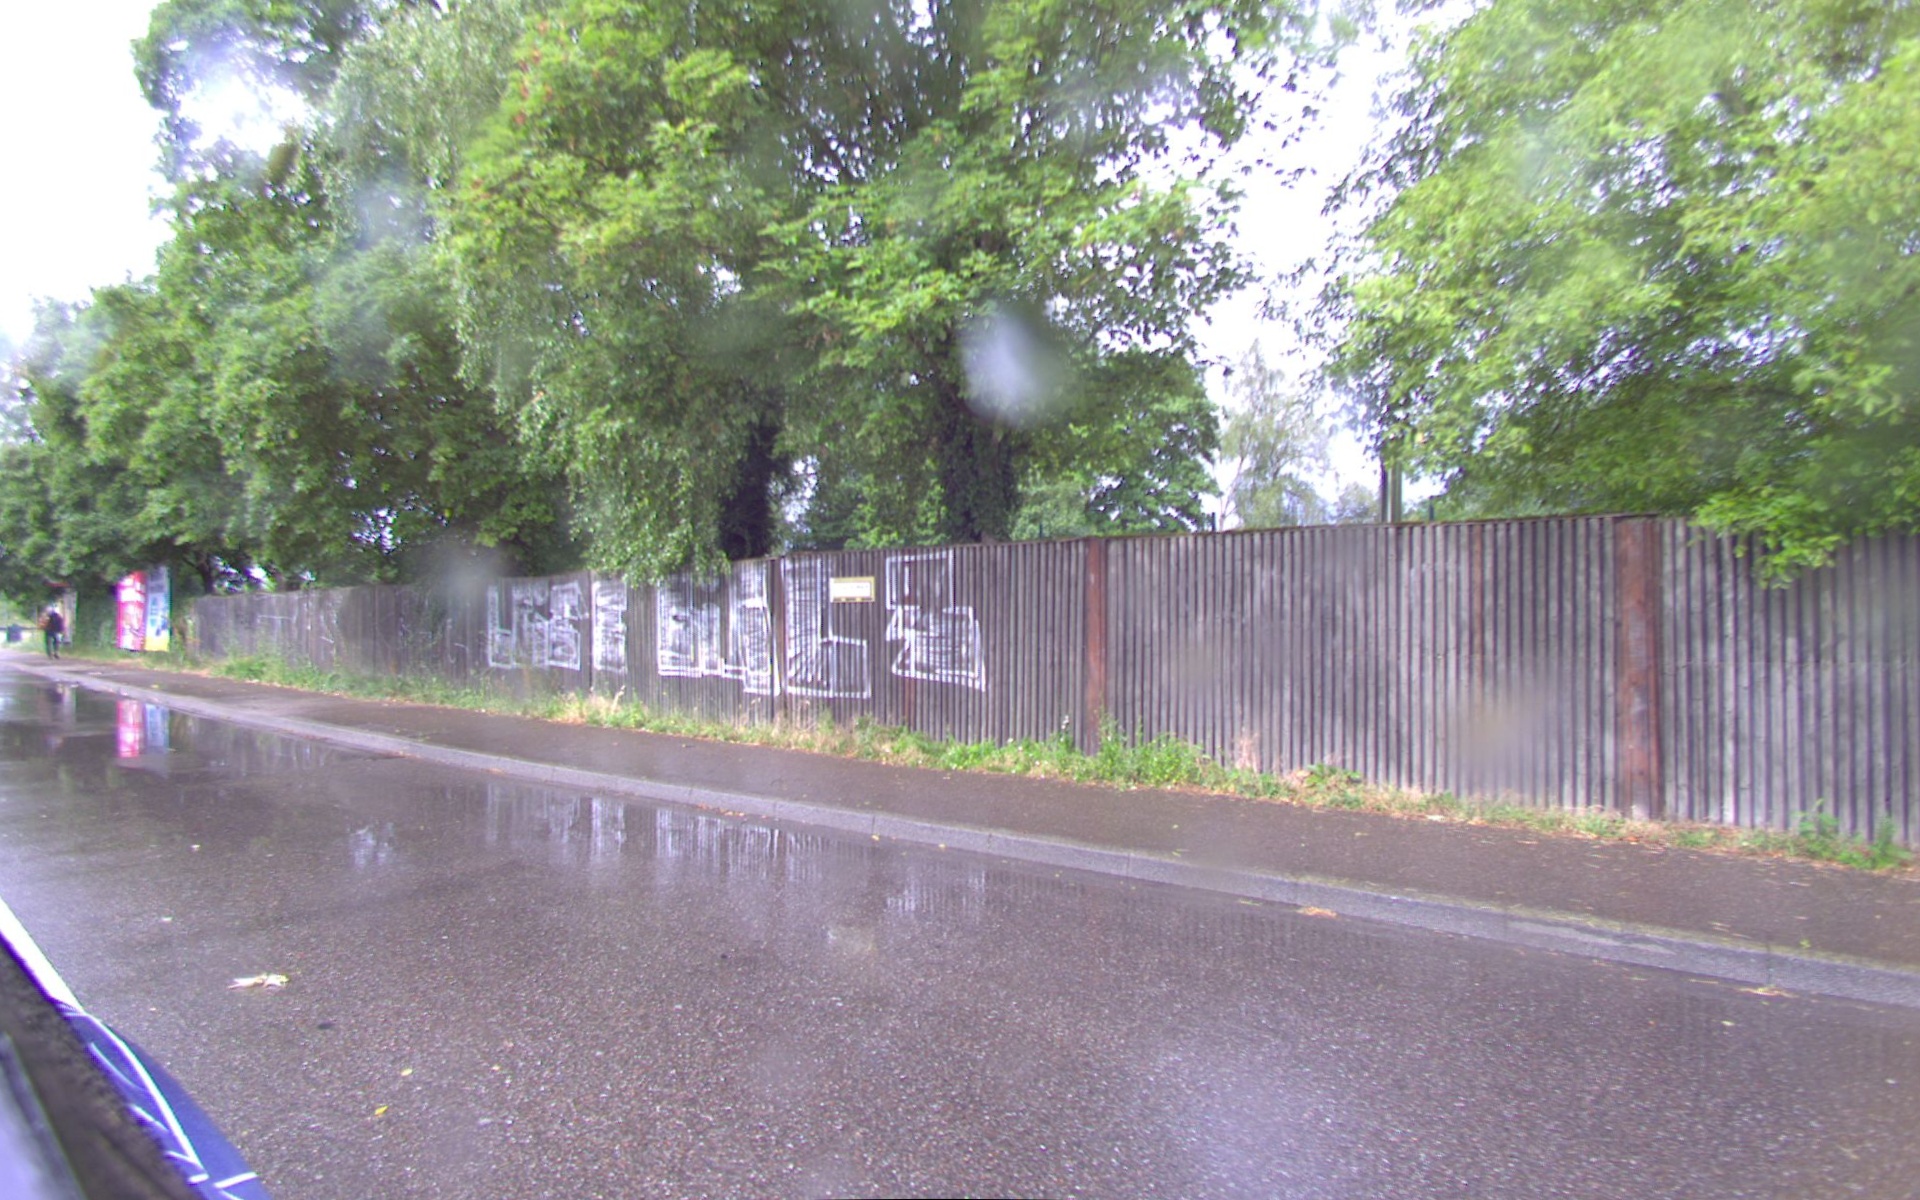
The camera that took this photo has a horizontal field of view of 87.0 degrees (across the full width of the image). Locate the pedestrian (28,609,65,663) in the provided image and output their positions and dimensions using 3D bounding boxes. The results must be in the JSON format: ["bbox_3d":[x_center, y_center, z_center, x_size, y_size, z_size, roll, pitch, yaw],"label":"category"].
[{"bbox_3d":[-30.924,1.216,34.274,0.644,1.783,0.830,-1,-2,40],"label":"pedestrian"}]
